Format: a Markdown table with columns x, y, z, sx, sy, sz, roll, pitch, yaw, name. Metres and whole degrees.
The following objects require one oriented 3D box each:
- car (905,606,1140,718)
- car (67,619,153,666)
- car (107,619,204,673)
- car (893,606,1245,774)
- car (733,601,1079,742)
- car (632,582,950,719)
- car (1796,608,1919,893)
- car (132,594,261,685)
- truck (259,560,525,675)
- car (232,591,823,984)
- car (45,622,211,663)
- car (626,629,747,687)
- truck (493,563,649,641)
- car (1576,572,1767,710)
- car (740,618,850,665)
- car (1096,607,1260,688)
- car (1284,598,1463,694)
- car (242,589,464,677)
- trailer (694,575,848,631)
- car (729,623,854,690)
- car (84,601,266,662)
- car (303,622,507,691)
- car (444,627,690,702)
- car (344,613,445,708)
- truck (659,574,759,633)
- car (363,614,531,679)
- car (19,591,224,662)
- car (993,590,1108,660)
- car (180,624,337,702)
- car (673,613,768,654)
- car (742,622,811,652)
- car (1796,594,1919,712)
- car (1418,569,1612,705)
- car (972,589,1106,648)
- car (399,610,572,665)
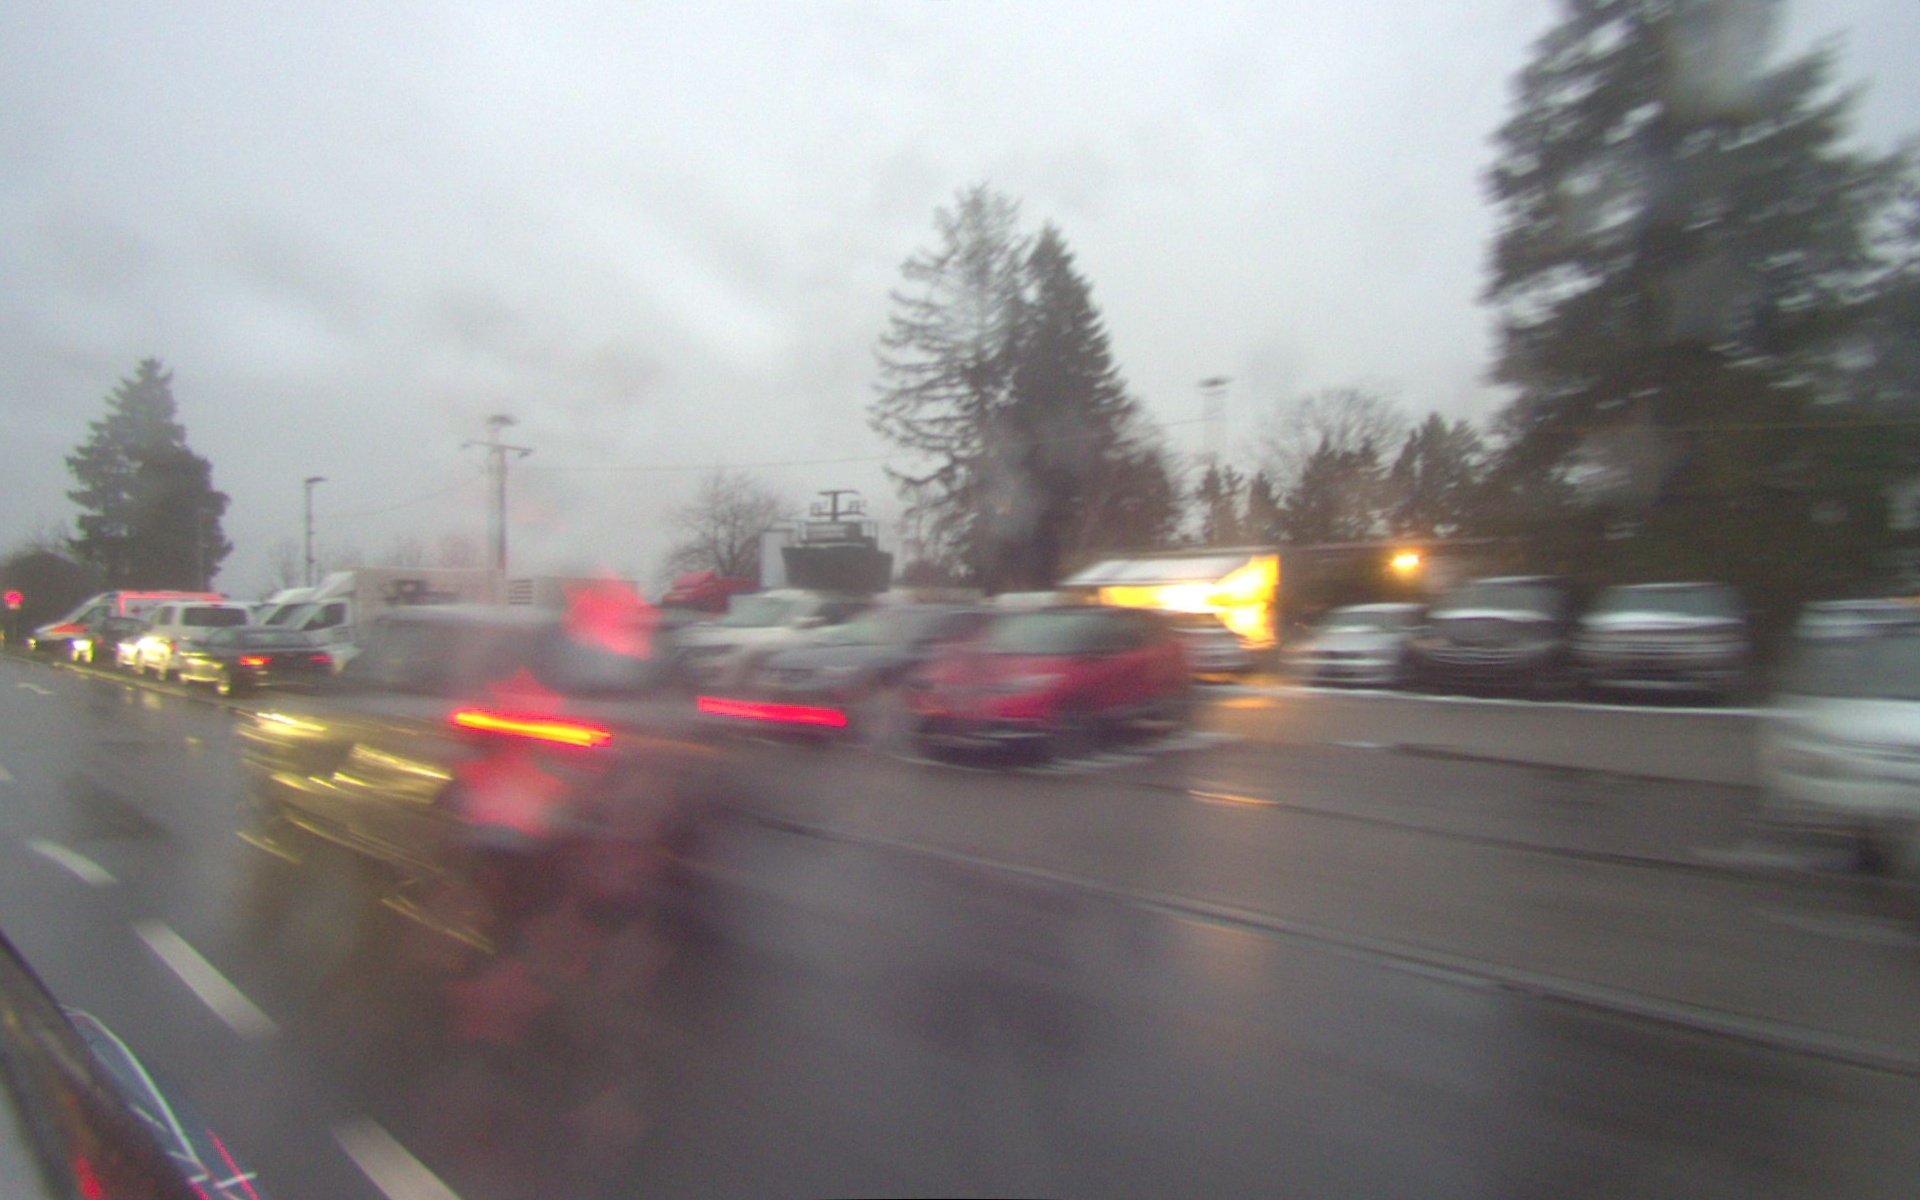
| x | y | z | sx | sy | sz | roll | pitch | yaw | name |
| --- | --- | --- | --- | --- | --- | --- | --- | --- | --- |
| 0.985 | 0.963 | 17.033 | 3.703 | 1.689 | 1.652 | -1 | -1 | 40 | car |
| -27.547 | 1.387 | 32.774 | 3.741 | 1.431 | 1.633 | -3 | -3 | 42 | car |
| -22.855 | 1.257 | 28.699 | 3.841 | 1.423 | 1.631 | -2 | -2 | 44 | car |
| 1.411 | 0.854 | 11.542 | 1.825 | 1.509 | 4.289 | -1 | -1 | 42 | car |
| -0.560 | 0.789 | 13.185 | 1.995 | 1.509 | 4.287 | -1 | -1 | 44 | car |
| -2.317 | 0.639 | 14.950 | 2.007 | 1.689 | 4.492 | -1 | -1 | 37 | car |
| 6.737 | 0.827 | 6.701 | 1.774 | 1.470 | 3.735 | -1 | 0 | 39 | car |
| -18.728 | 0.911 | 24.745 | 4.484 | 2.028 | 1.814 | -1 | -1 | 44 | car |
| -17.316 | 0.528 | 31.284 | 2.332 | 3.166 | 6.789 | -1 | -1 | 40 | truck |
| -2.736 | 0.792 | 5.934 | 3.998 | 1.546 | 1.586 | -1 | -3 | 41 | car |
| -32.026 | 1.651 | 39.064 | 1.954 | 1.494 | 4.699 | -2 | -3 | 41 | car |
| -7.319 | 1.503 | 26.931 | 1.647 | 1.409 | 3.651 | 2 | -3 | -41 | car |
| -22.852 | 0.035 | 60.009 | 2.995 | 4.293 | 8.624 | -1 | 1 | 30 | truck |
| 11.000 | 0.547 | 15.542 | 1.958 | 1.822 | 3.945 | -1 | -1 | 42 | car |
| -4.987 | 1.260 | 30.482 | 3.159 | 1.342 | 1.395 | -2 | -3 | 33 | car |
| 4.139 | 0.859 | 19.807 | 1.646 | 1.394 | 3.633 | 0 | -1 | -15 | car |
| 7.557 | 0.748 | 18.313 | 1.789 | 1.522 | 3.945 | -1 | -1 | 41 | car |
| -20.072 | 1.053 | 33.739 | 2.194 | 2.658 | 5.971 | -2 | -2 | 39 | car |
| -9.783 | 0.125 | 54.073 | 2.209 | 2.694 | 10.411 | -1 | 0 | 27 | trailer |
| -4.096 | 1.372 | 25.030 | 1.345 | 1.560 | 3.134 | -2 | -3 | 31 | car |
| -29.570 | 1.225 | 38.267 | 2.057 | 2.167 | 5.091 | -2 | -3 | 41 | car |
| -13.186 | 1.351 | 24.208 | 1.809 | 1.489 | 3.868 | -1 | -4 | 41 | car |
| -8.392 | 1.336 | 22.006 | 1.781 | 1.448 | 4.707 | -1 | -3 | 39 | car |
| -10.816 | 1.103 | 19.298 | 1.157 | 1.657 | 2.875 | 1 | -2 | -40 | car |
| -12.172 | 0.162 | 49.346 | 2.223 | 2.717 | 4.681 | -1 | 0 | 27 | truck |
| -15.148 | 1.315 | 30.037 | 2.022 | 1.746 | 4.010 | -1 | -1 | 38 | car |
| -33.734 | 1.121 | 40.905 | 2.175 | 2.652 | 6.091 | -2 | -3 | 41 | car |
| 3.248 | 0.849 | 35.582 | 2.261 | 2.298 | 4.196 | -1 | -1 | 34 | car |
| -14.519 | 1.235 | 20.868 | 4.253 | 1.331 | 1.554 | 1 | -1 | 40 | car |
| -8.209 | 1.170 | 34.643 | 3.159 | 1.342 | 1.395 | -2 | -3 | 33 | car |
| -7.996 | 1.590 | 44.169 | 1.343 | 1.209 | 2.773 | -1 | -1 | 38 | car |
| 13.219 | 0.661 | 14.354 | 1.958 | 1.476 | 3.945 | -1 | -1 | 42 | car |
| 9.180 | 0.528 | 16.598 | 1.958 | 1.937 | 3.945 | -1 | -1 | 42 | car |
| 3.181 | 0.762 | 41.456 | 5.280 | 2.279 | 1.975 | -1 | -1 | 37 | car |
| -13.163 | 0.998 | 28.281 | 1.812 | 1.388 | 4.010 | -1 | -1 | 38 | car |
